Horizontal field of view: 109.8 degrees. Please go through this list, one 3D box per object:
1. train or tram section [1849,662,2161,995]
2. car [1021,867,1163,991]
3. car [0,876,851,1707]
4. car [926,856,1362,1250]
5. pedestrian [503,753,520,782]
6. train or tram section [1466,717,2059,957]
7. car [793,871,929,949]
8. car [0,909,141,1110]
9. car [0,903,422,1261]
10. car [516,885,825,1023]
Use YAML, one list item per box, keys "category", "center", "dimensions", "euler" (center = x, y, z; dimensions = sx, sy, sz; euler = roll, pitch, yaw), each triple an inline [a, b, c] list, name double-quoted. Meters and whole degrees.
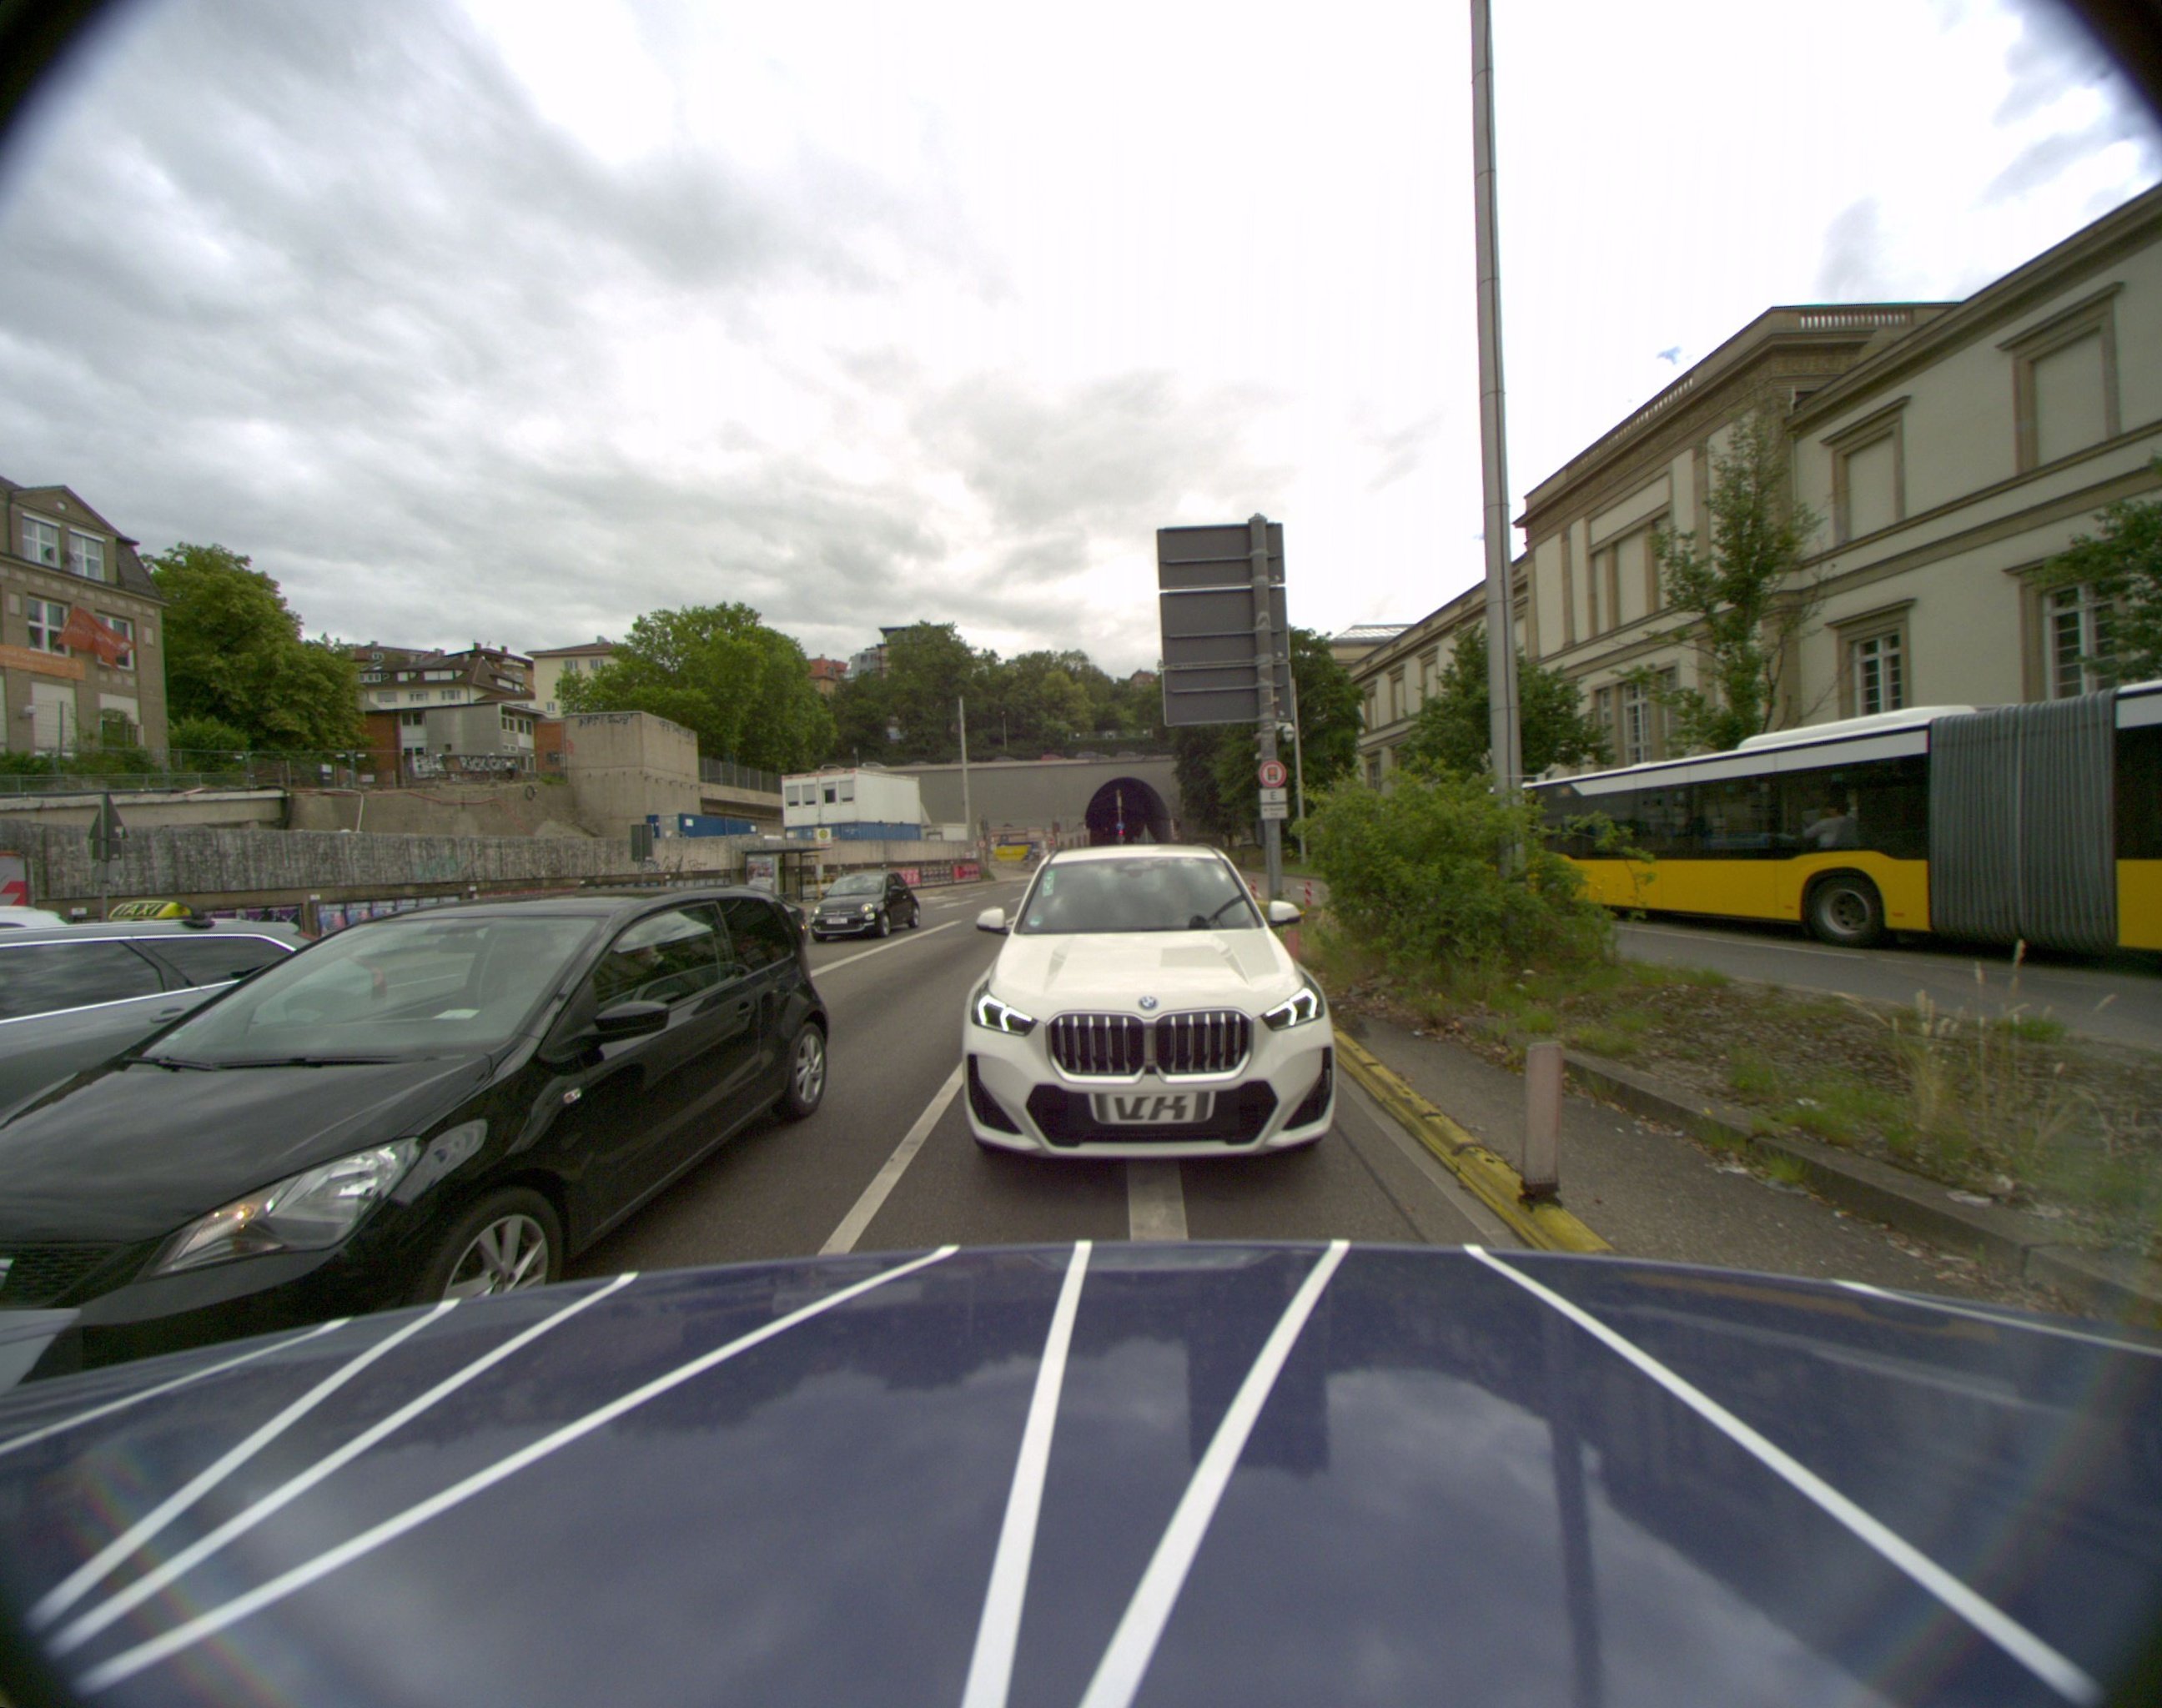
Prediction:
- category: "train or tram section"
  center: [11.250, -0.252, 5.126]
  dimensions: [2.700, 3.053, 9.336]
  euler: [-1, 0, 0]
- category: "car"
  center: [0.227, 0.992, 11.599]
  dimensions: [1.756, 1.427, 3.911]
  euler: [-2, 0, 3]
- category: "car"
  center: [-2.525, 0.980, 3.276]
  dimensions: [1.661, 1.547, 3.911]
  euler: [-2, 1, 3]
- category: "car"
  center: [0.344, 0.850, 5.123]
  dimensions: [1.756, 1.547, 3.911]
  euler: [-2, 1, 3]
- category: "pedestrian"
  center: [-36.567, -5.542, 48.801]
  dimensions: [0.554, 1.784, 0.569]
  euler: [-2, 1, 6]
- category: "train or tram section"
  center: [11.160, -0.225, 14.462]
  dimensions: [2.701, 3.053, 9.375]
  euler: [-1, 0, -1]
- category: "car"
  center: [-4.916, 1.195, 17.541]
  dimensions: [1.720, 1.450, 3.782]
  euler: [-3, 0, 4]
- category: "car"
  center: [-9.146, 1.261, 4.581]
  dimensions: [1.826, 1.457, 4.073]
  euler: [-2, 1, 0]
- category: "car"
  center: [-5.820, 1.145, 3.456]
  dimensions: [1.826, 1.457, 4.217]
  euler: [-2, 1, 2]
- category: "car"
  center: [-5.394, 1.228, 10.762]
  dimensions: [1.826, 1.356, 4.219]
  euler: [-2, 0, 4]
